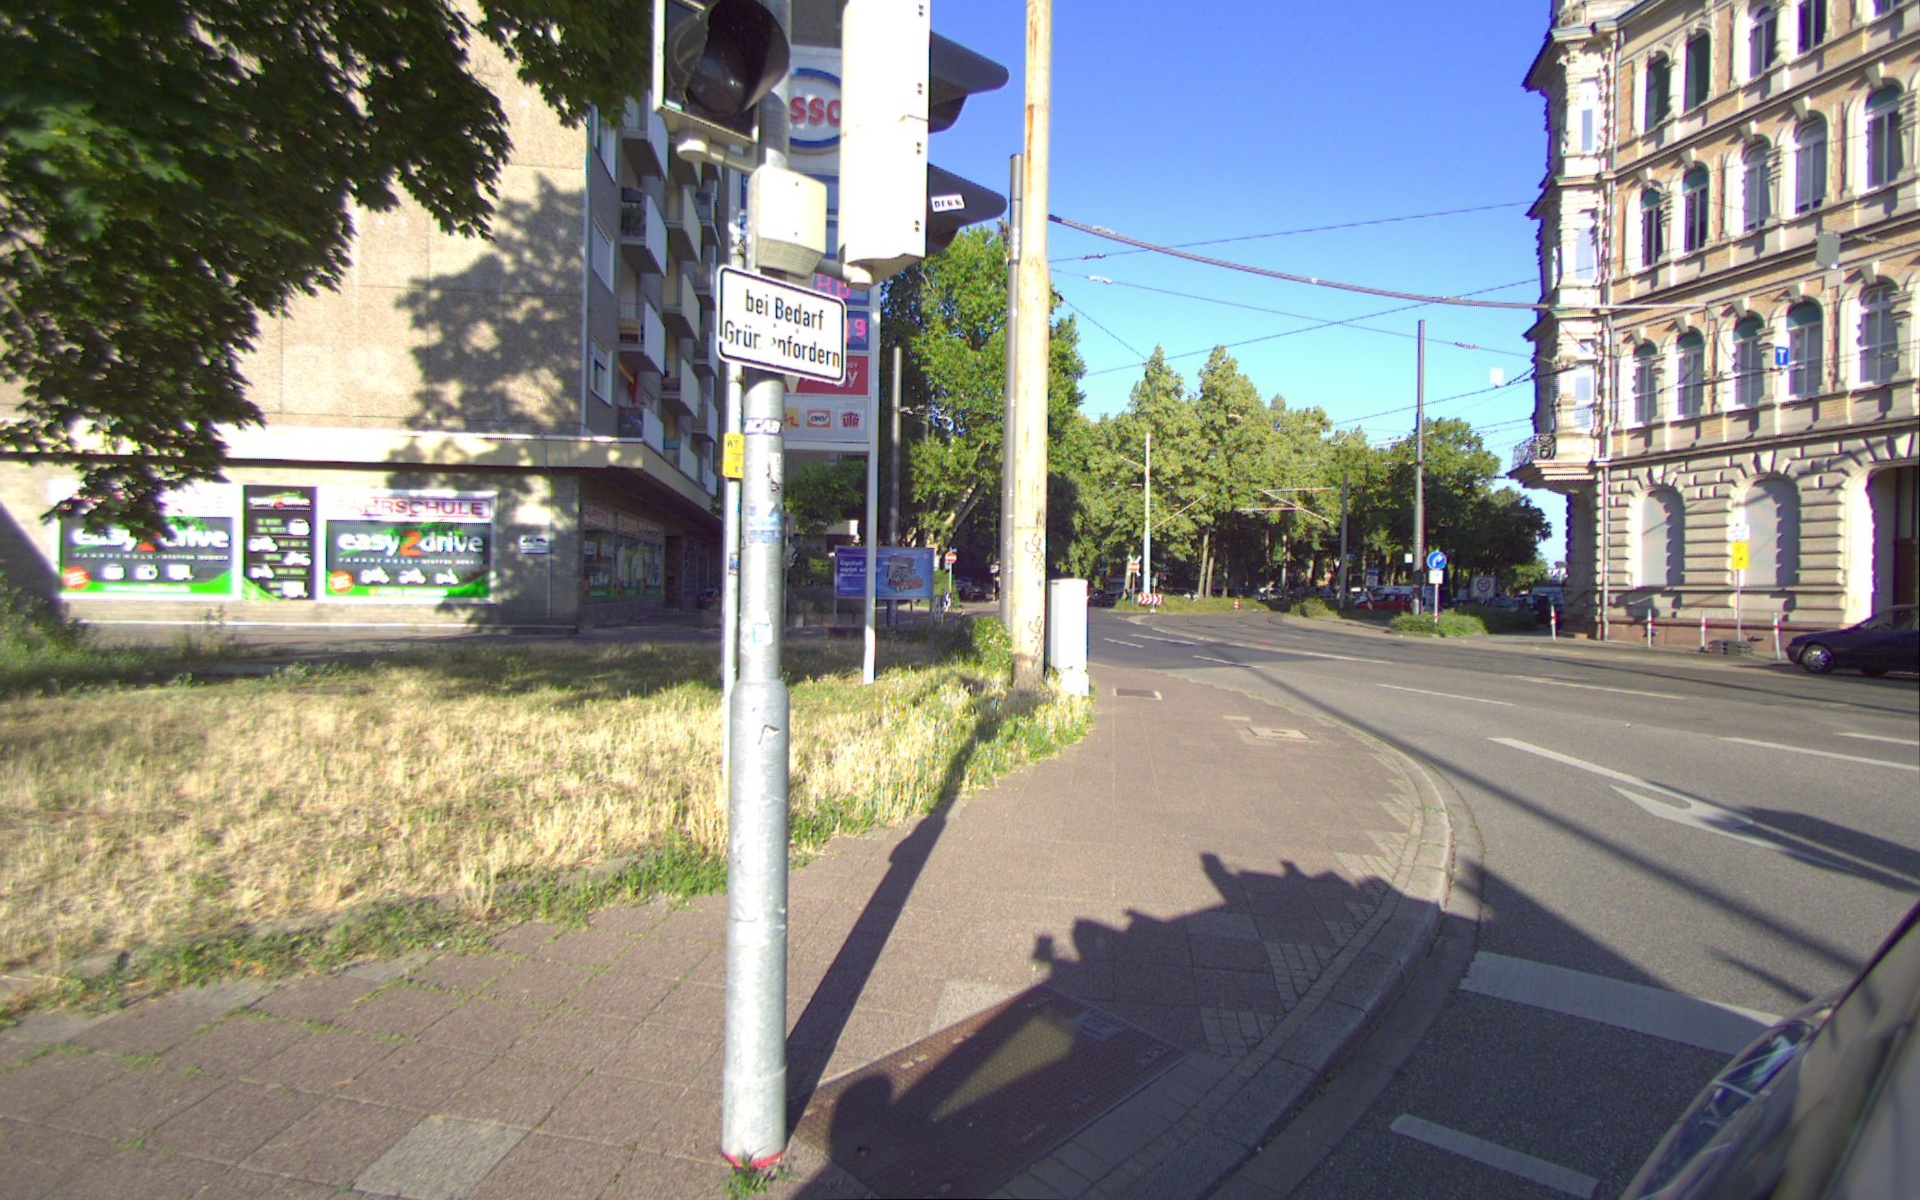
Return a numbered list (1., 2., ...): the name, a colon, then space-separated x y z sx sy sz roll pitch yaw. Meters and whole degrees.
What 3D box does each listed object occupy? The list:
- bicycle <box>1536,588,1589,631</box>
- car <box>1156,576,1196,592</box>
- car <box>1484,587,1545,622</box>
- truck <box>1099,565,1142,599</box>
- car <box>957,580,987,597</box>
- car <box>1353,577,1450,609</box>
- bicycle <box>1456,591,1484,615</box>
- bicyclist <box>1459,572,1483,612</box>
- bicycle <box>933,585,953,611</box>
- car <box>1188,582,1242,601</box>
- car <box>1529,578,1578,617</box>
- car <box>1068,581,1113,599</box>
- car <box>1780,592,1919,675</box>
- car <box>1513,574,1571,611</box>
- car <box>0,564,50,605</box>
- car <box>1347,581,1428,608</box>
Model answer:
1. bicycle: 18.888 0.294 31.713 2.642 1.282 0.644 0 1 -42
2. car: 25.083 -1.918 117.539 1.961 1.771 4.447 0 1 -32
3. car: 24.103 0.180 43.956 1.730 1.432 3.385 2 1 40
4. truck: 14.160 -1.575 89.025 1.984 2.818 4.830 1 1 31
5. car: 1.066 -1.043 88.751 1.704 1.466 3.639 1 1 -15
6. car: 26.546 -0.440 61.010 1.963 1.810 5.057 0 1 -37
7. bicycle: 24.290 0.135 48.157 0.725 1.097 2.085 1 0 41
8. bicyclist: 24.330 -0.385 48.211 0.727 1.864 1.194 1 0 42
9. bicycle: -0.779 -0.122 46.849 0.600 1.149 2.277 1 1 6
10. car: 19.429 -0.658 77.204 1.711 1.370 3.682 0 1 -42
11. car: 33.081 -0.168 56.359 1.987 2.039 4.578 1 1 35
12. car: 10.937 -0.827 84.620 1.941 1.415 3.944 2 1 38
13. car: 17.412 0.596 17.991 1.777 1.397 4.171 1 1 -12
14. car: 27.258 -0.359 47.348 1.730 1.682 3.942 2 1 40
15. car: -32.824 -0.539 33.231 4.170 1.312 1.753 1 1 -5
16. car: 25.007 -0.345 59.302 1.834 1.526 3.998 0 1 -37
